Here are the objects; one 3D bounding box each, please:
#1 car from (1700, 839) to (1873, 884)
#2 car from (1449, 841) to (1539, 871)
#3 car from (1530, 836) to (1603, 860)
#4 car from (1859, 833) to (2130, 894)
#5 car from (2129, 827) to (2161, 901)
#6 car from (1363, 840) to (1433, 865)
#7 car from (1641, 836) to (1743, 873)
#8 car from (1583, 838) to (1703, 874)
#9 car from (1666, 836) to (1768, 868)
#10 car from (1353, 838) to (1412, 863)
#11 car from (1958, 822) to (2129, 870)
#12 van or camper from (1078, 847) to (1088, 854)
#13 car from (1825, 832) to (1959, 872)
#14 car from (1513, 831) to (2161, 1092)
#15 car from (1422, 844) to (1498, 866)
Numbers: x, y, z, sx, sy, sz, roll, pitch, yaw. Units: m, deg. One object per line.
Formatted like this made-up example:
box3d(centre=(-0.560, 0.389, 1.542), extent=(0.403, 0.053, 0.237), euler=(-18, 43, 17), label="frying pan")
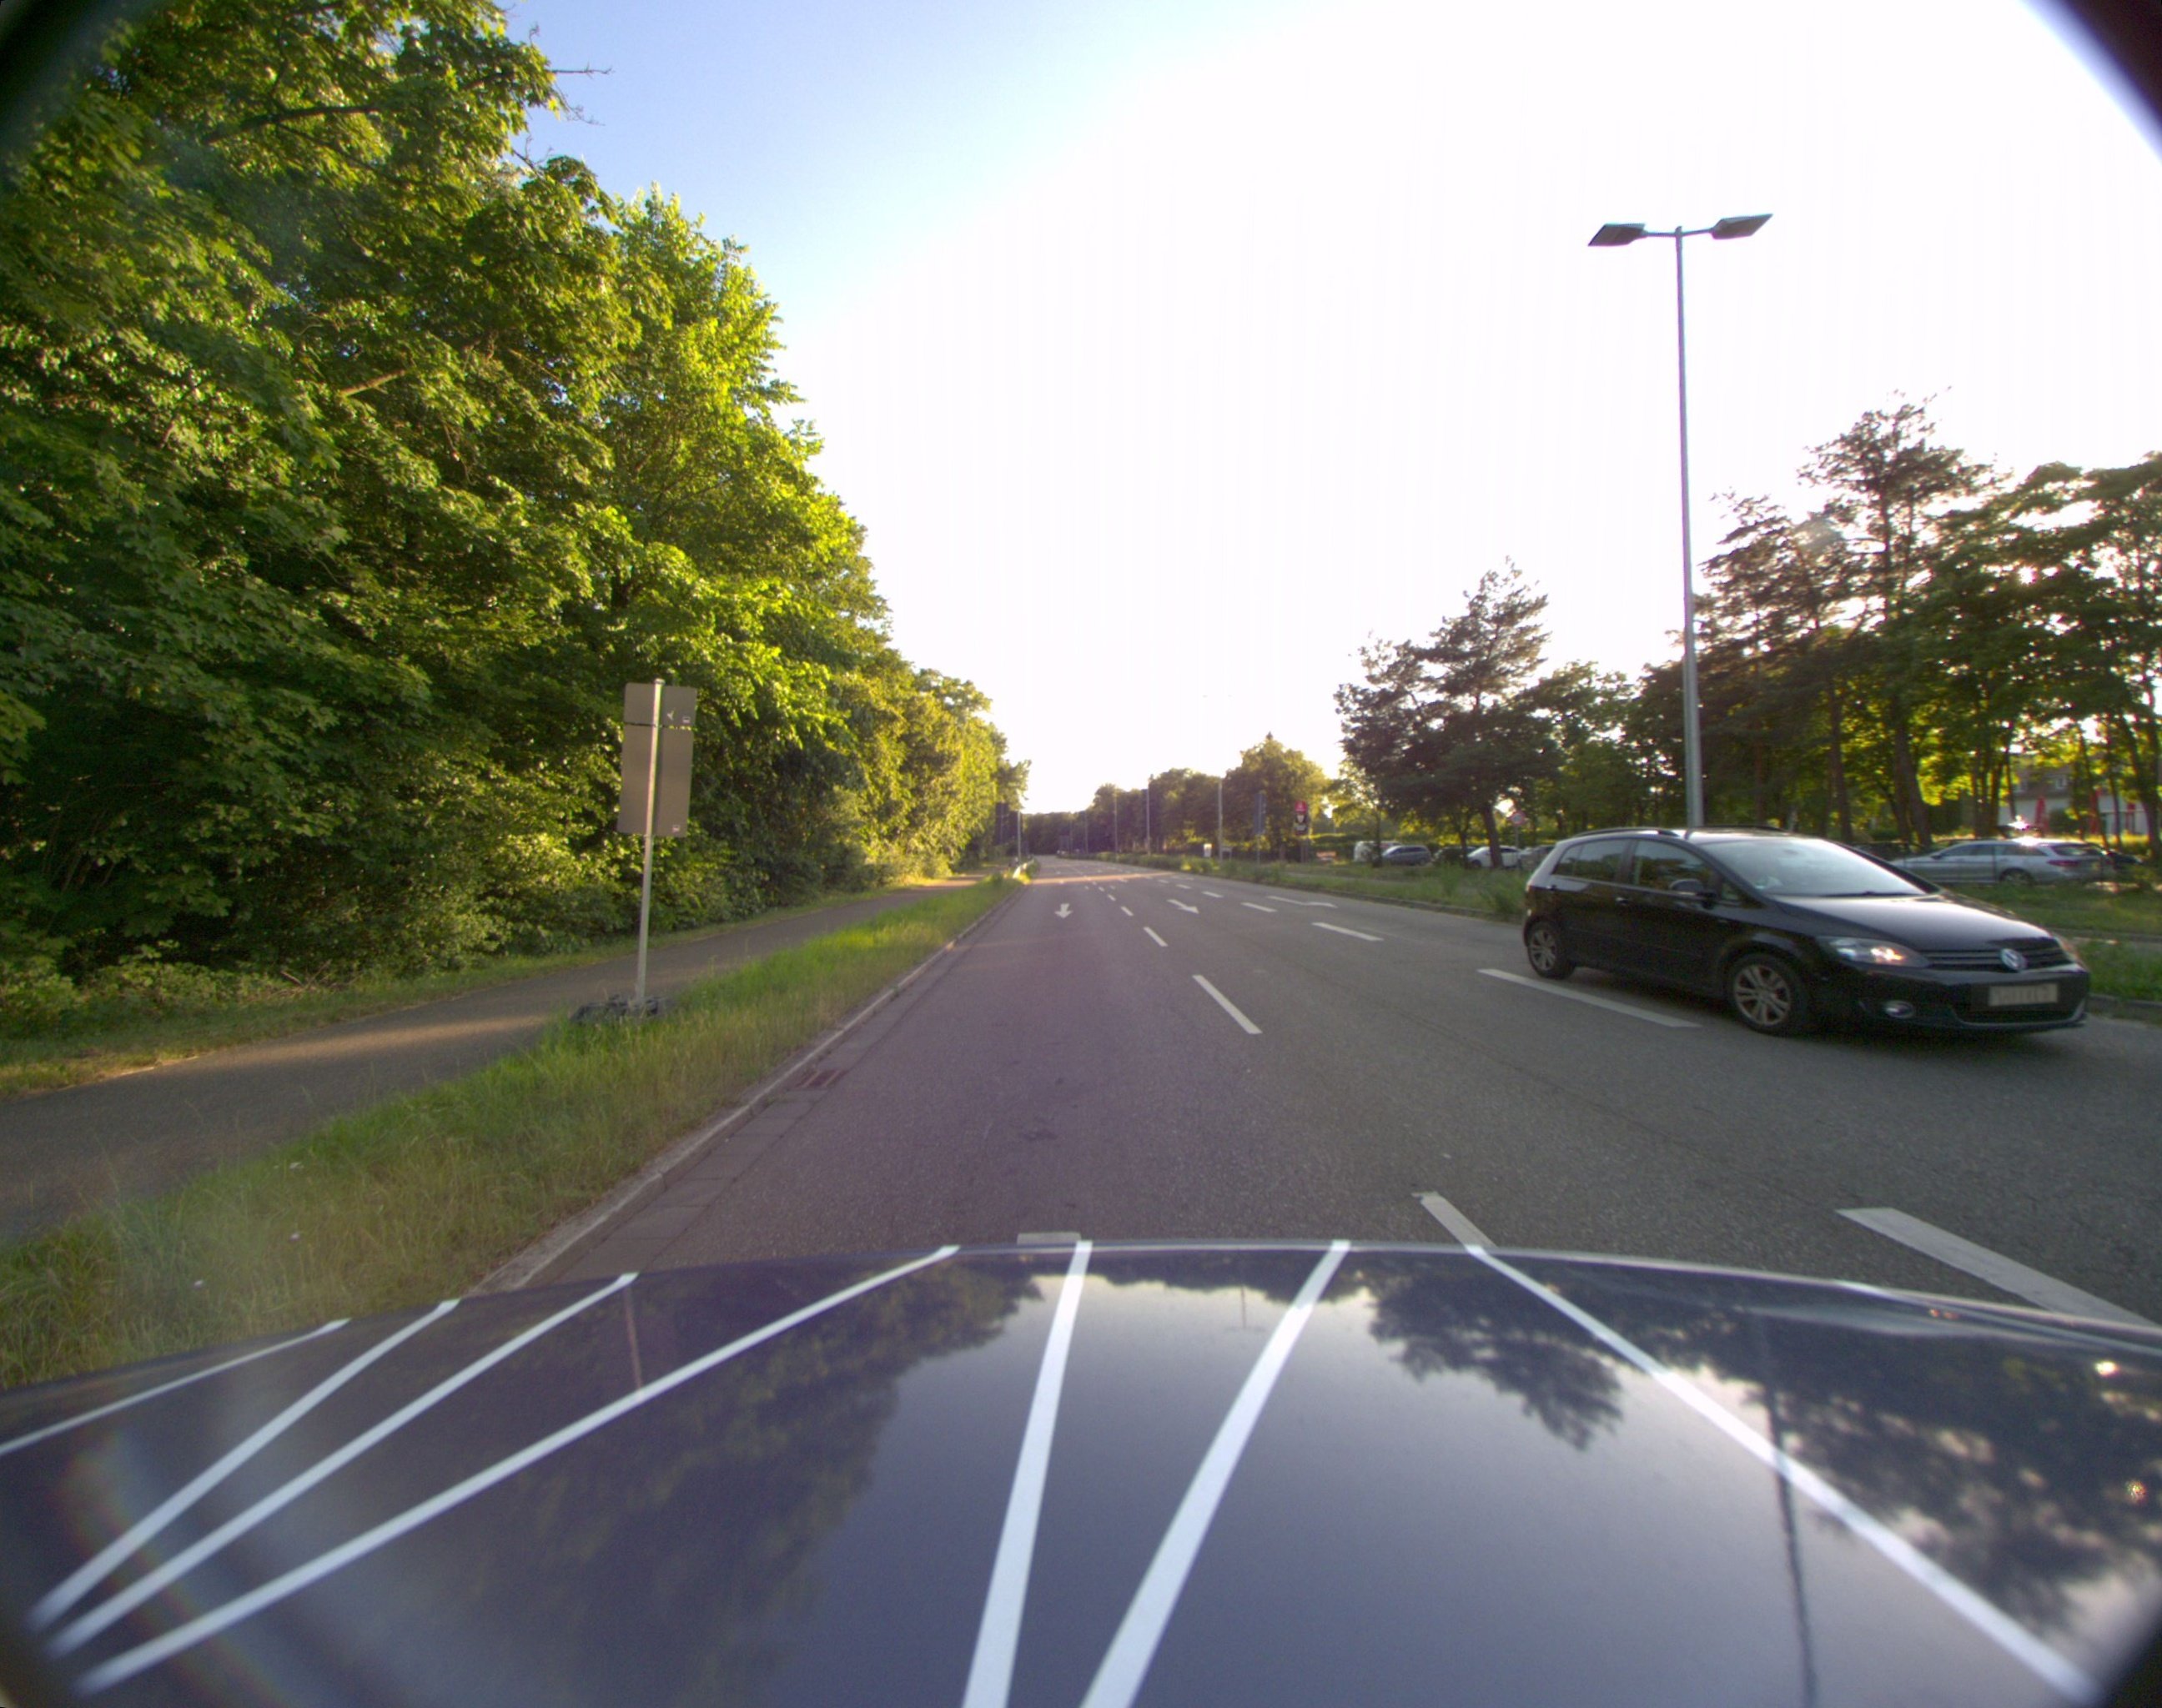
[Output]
box3d(centre=(26.415, 0.248, 28.731), extent=(1.999, 1.539, 4.708), euler=(-1, 0, -4), label="car")
box3d(centre=(25.164, 0.122, 46.401), extent=(4.497, 1.743, 1.909), euler=(-1, 1, -1), label="car")
box3d(centre=(34.116, -0.411, 53.478), extent=(3.997, 1.641, 1.766), euler=(-1, 1, -1), label="car")
box3d(centre=(26.770, 0.237, 22.623), extent=(1.999, 1.597, 4.920), euler=(-1, 0, -4), label="car")
box3d(centre=(27.102, 0.248, 16.415), extent=(1.999, 1.776, 4.920), euler=(-1, 1, -4), label="car")
box3d(centre=(24.180, -0.105, 58.026), extent=(4.498, 1.787, 1.909), euler=(-1, 1, -2), label="car")
box3d(centre=(26.415, 0.020, 32.907), extent=(3.099, 1.518, 1.659), euler=(-1, 1, -2), label="car")
box3d(centre=(26.861, 0.091, 36.373), extent=(4.525, 1.608, 1.771), euler=(-1, 1, -3), label="car")
box3d(centre=(34.075, -0.131, 40.797), extent=(3.997, 1.641, 1.766), euler=(-1, 1, -1), label="car")
box3d(centre=(24.213, -0.258, 61.065), extent=(3.998, 1.933, 1.766), euler=(-1, 1, -2), label="car")
box3d(centre=(34.976, -0.298, 27.686), extent=(3.997, 1.641, 1.766), euler=(-1, 1, -1), label="car")
box3d(centre=(0.638, -1.058, 211.232), extent=(2.000, 2.002, 4.574), euler=(-1, 1, -9), label="van or camper")
box3d(centre=(35.415, -0.085, 33.242), extent=(3.997, 1.641, 1.766), euler=(-1, 1, -1), label="car")
box3d(centre=(5.923, 0.630, 6.582), extent=(1.999, 1.543, 3.999), euler=(-1, 0, -2), label="car")
box3d(centre=(24.234, 0.064, 48.643), extent=(3.997, 1.304, 1.732), euler=(-1, 1, -1), label="car")
